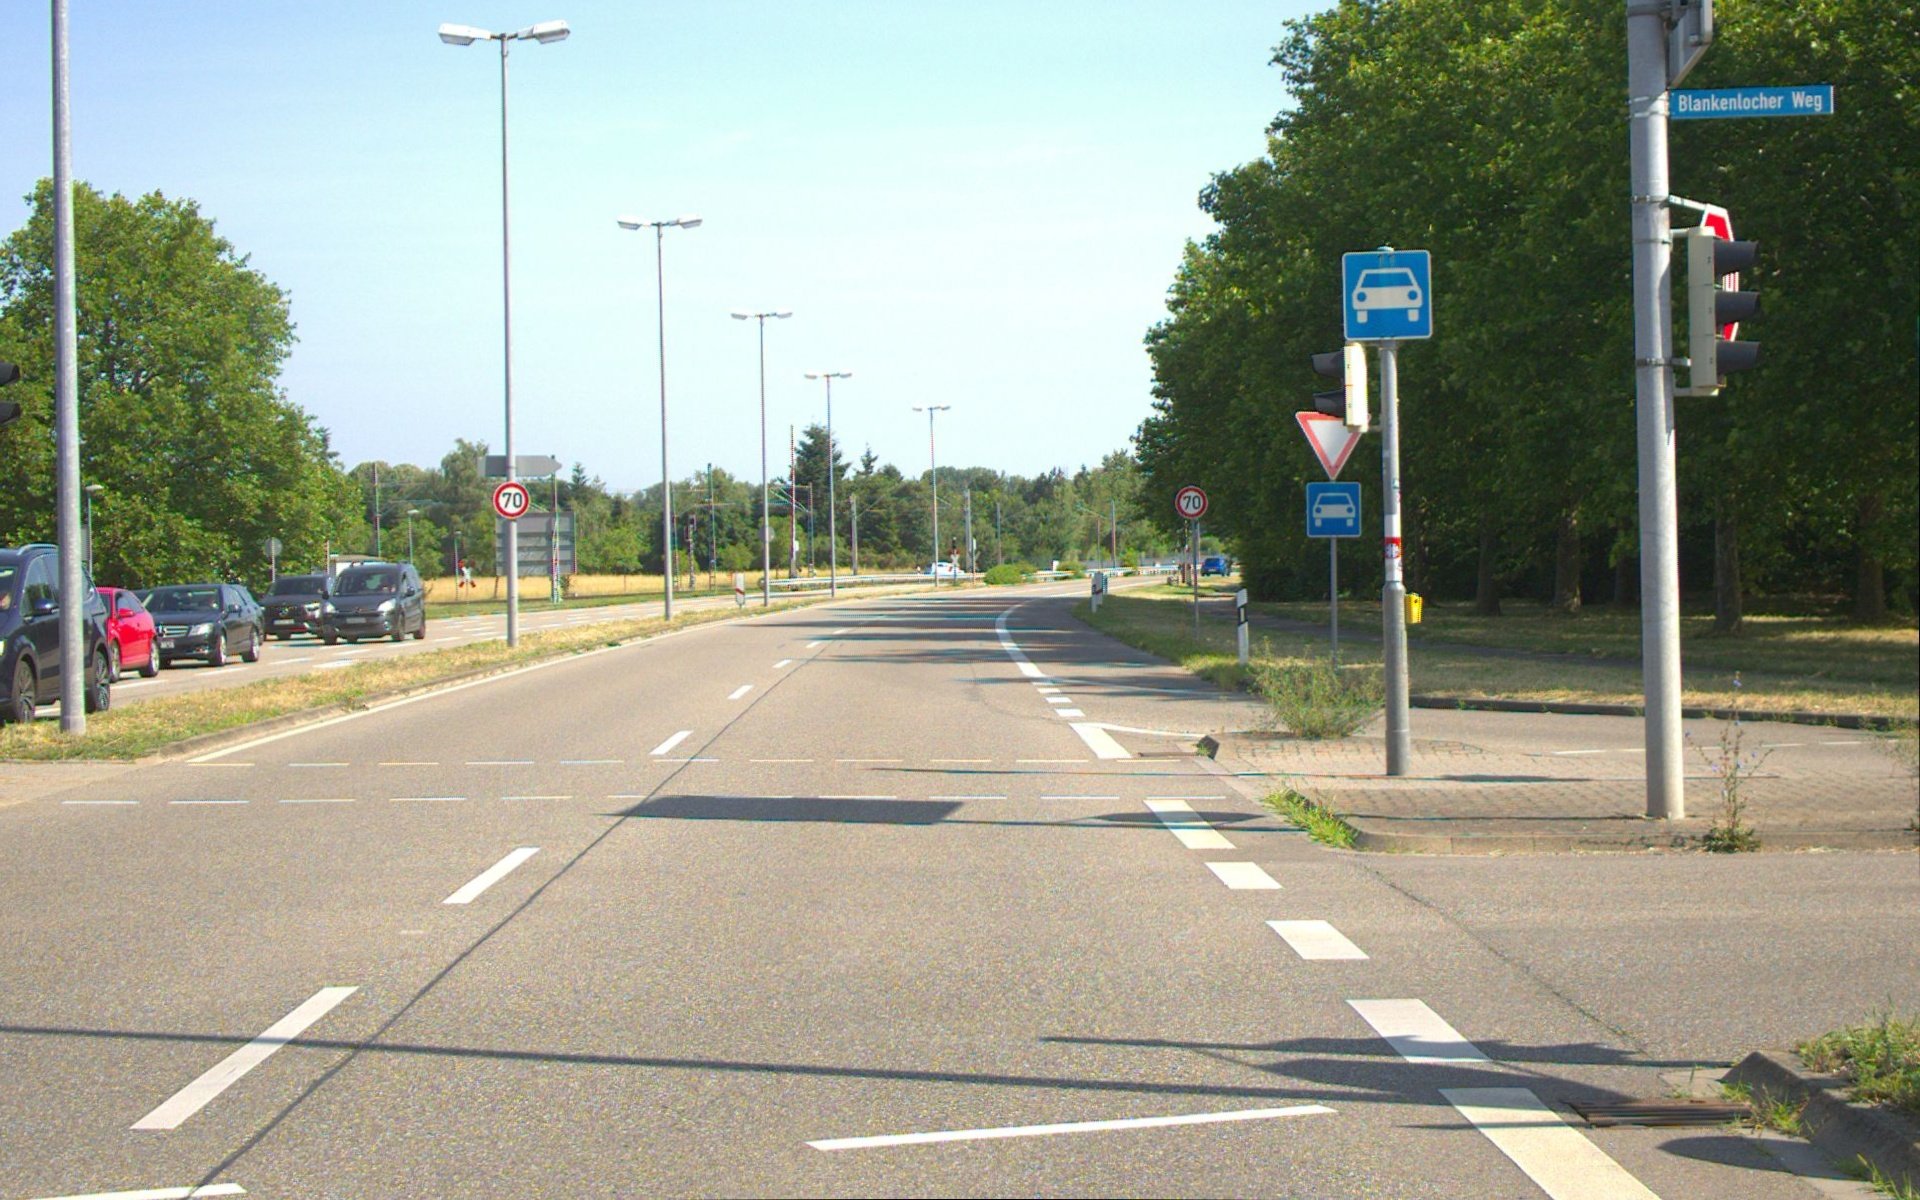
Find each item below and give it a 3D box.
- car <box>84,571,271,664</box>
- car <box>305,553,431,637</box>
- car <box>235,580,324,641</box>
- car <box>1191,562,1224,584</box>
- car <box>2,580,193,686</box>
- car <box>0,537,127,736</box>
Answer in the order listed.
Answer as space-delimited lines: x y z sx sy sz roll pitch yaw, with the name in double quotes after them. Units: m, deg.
-13.160 0.261 58.094 1.981 1.452 4.450 -1 1 2 "car"
-13.245 -0.132 77.184 1.981 1.773 4.490 -1 1 1 "car"
-17.305 0.242 87.572 1.981 1.452 4.230 -1 1 -8 "car"
17.908 -1.948 248.764 1.982 1.452 4.116 -2 1 9 "car"
-12.927 0.464 51.739 1.815 1.479 4.000 -1 1 0 "car"
-9.383 0.318 32.048 1.981 1.744 4.508 -1 1 2 "car"
